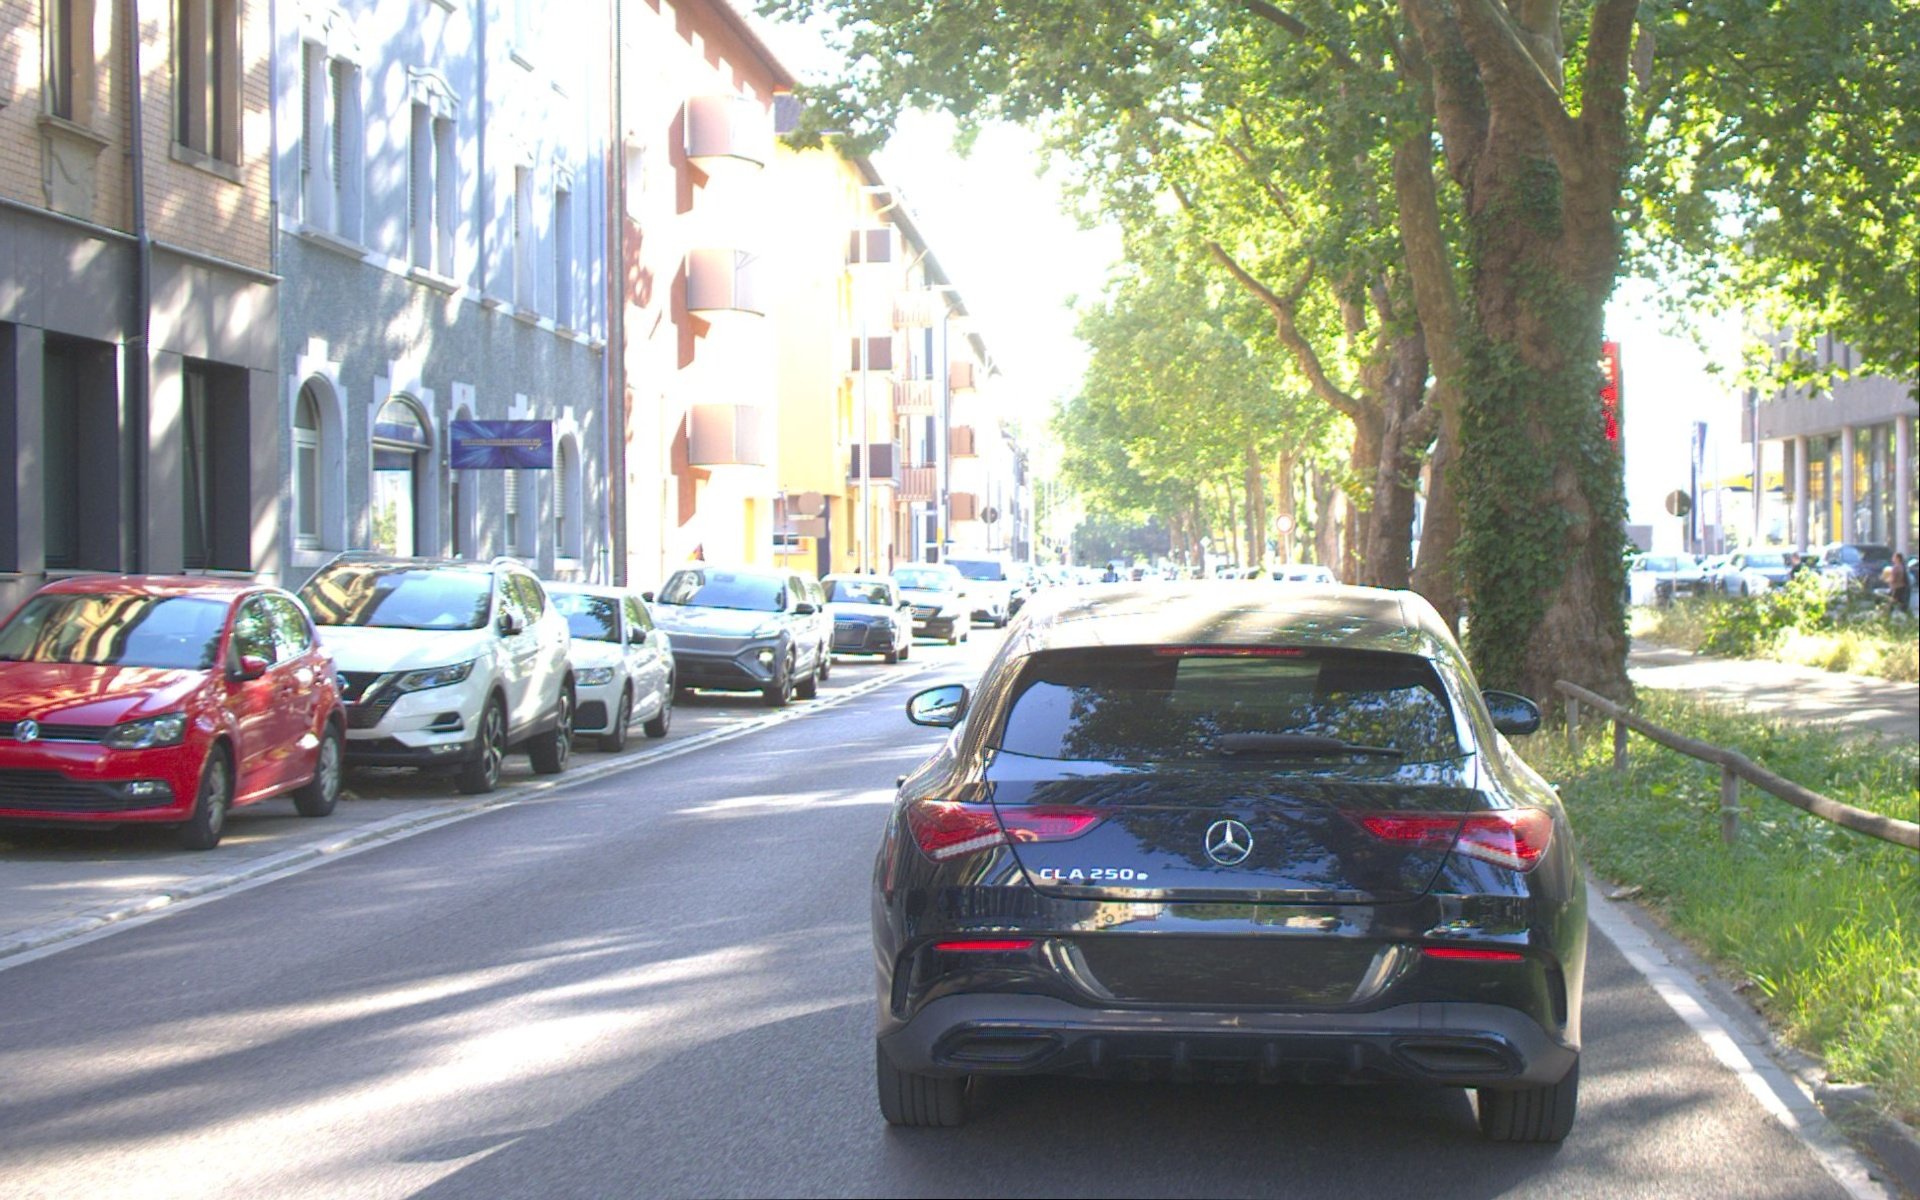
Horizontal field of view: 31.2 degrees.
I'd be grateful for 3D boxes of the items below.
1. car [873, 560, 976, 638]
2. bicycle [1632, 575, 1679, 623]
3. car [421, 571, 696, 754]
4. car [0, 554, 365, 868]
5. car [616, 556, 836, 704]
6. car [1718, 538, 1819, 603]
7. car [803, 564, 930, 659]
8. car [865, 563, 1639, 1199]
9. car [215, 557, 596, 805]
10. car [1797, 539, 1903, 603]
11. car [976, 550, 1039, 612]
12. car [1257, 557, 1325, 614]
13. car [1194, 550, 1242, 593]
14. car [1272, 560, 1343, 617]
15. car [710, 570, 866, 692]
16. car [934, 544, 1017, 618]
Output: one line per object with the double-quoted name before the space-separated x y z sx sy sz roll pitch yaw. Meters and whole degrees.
"car" -0.703 -0.041 70.424 1.678 1.518 4.020 1 1 5
"bicycle" 14.550 -0.027 71.933 0.382 1.000 1.487 -1 1 -12
"car" -3.544 0.508 30.974 1.678 1.491 3.871 1 1 5
"car" -4.727 0.547 19.646 1.678 1.587 3.756 1 1 5
"car" -2.745 0.312 41.359 1.908 1.636 4.576 1 1 5
"car" 22.494 -0.828 95.773 1.875 1.727 4.180 -1 1 1
"car" -1.530 0.167 57.223 1.678 1.481 3.600 1 1 5
"car" 0.639 0.639 9.842 1.744 1.438 3.969 1 1 -1
"car" -3.850 0.500 24.566 1.678 1.579 4.199 1 1 5
"car" 24.680 -0.810 95.493 1.986 1.727 4.180 -1 1 2
"car" 1.440 -0.595 103.488 1.745 1.781 4.549 1 1 2
"car" 9.695 -0.420 100.856 1.810 1.533 4.582 -3 0 4
"car" 12.505 -1.379 166.803 1.993 2.007 4.000 0 -1 0
"car" 9.484 -0.316 94.022 1.635 1.463 4.021 -2 0 2
"car" -2.451 0.414 49.865 1.678 1.636 3.984 1 1 5
"car" 0.442 -0.522 90.540 1.734 1.900 5.208 0 1 5
